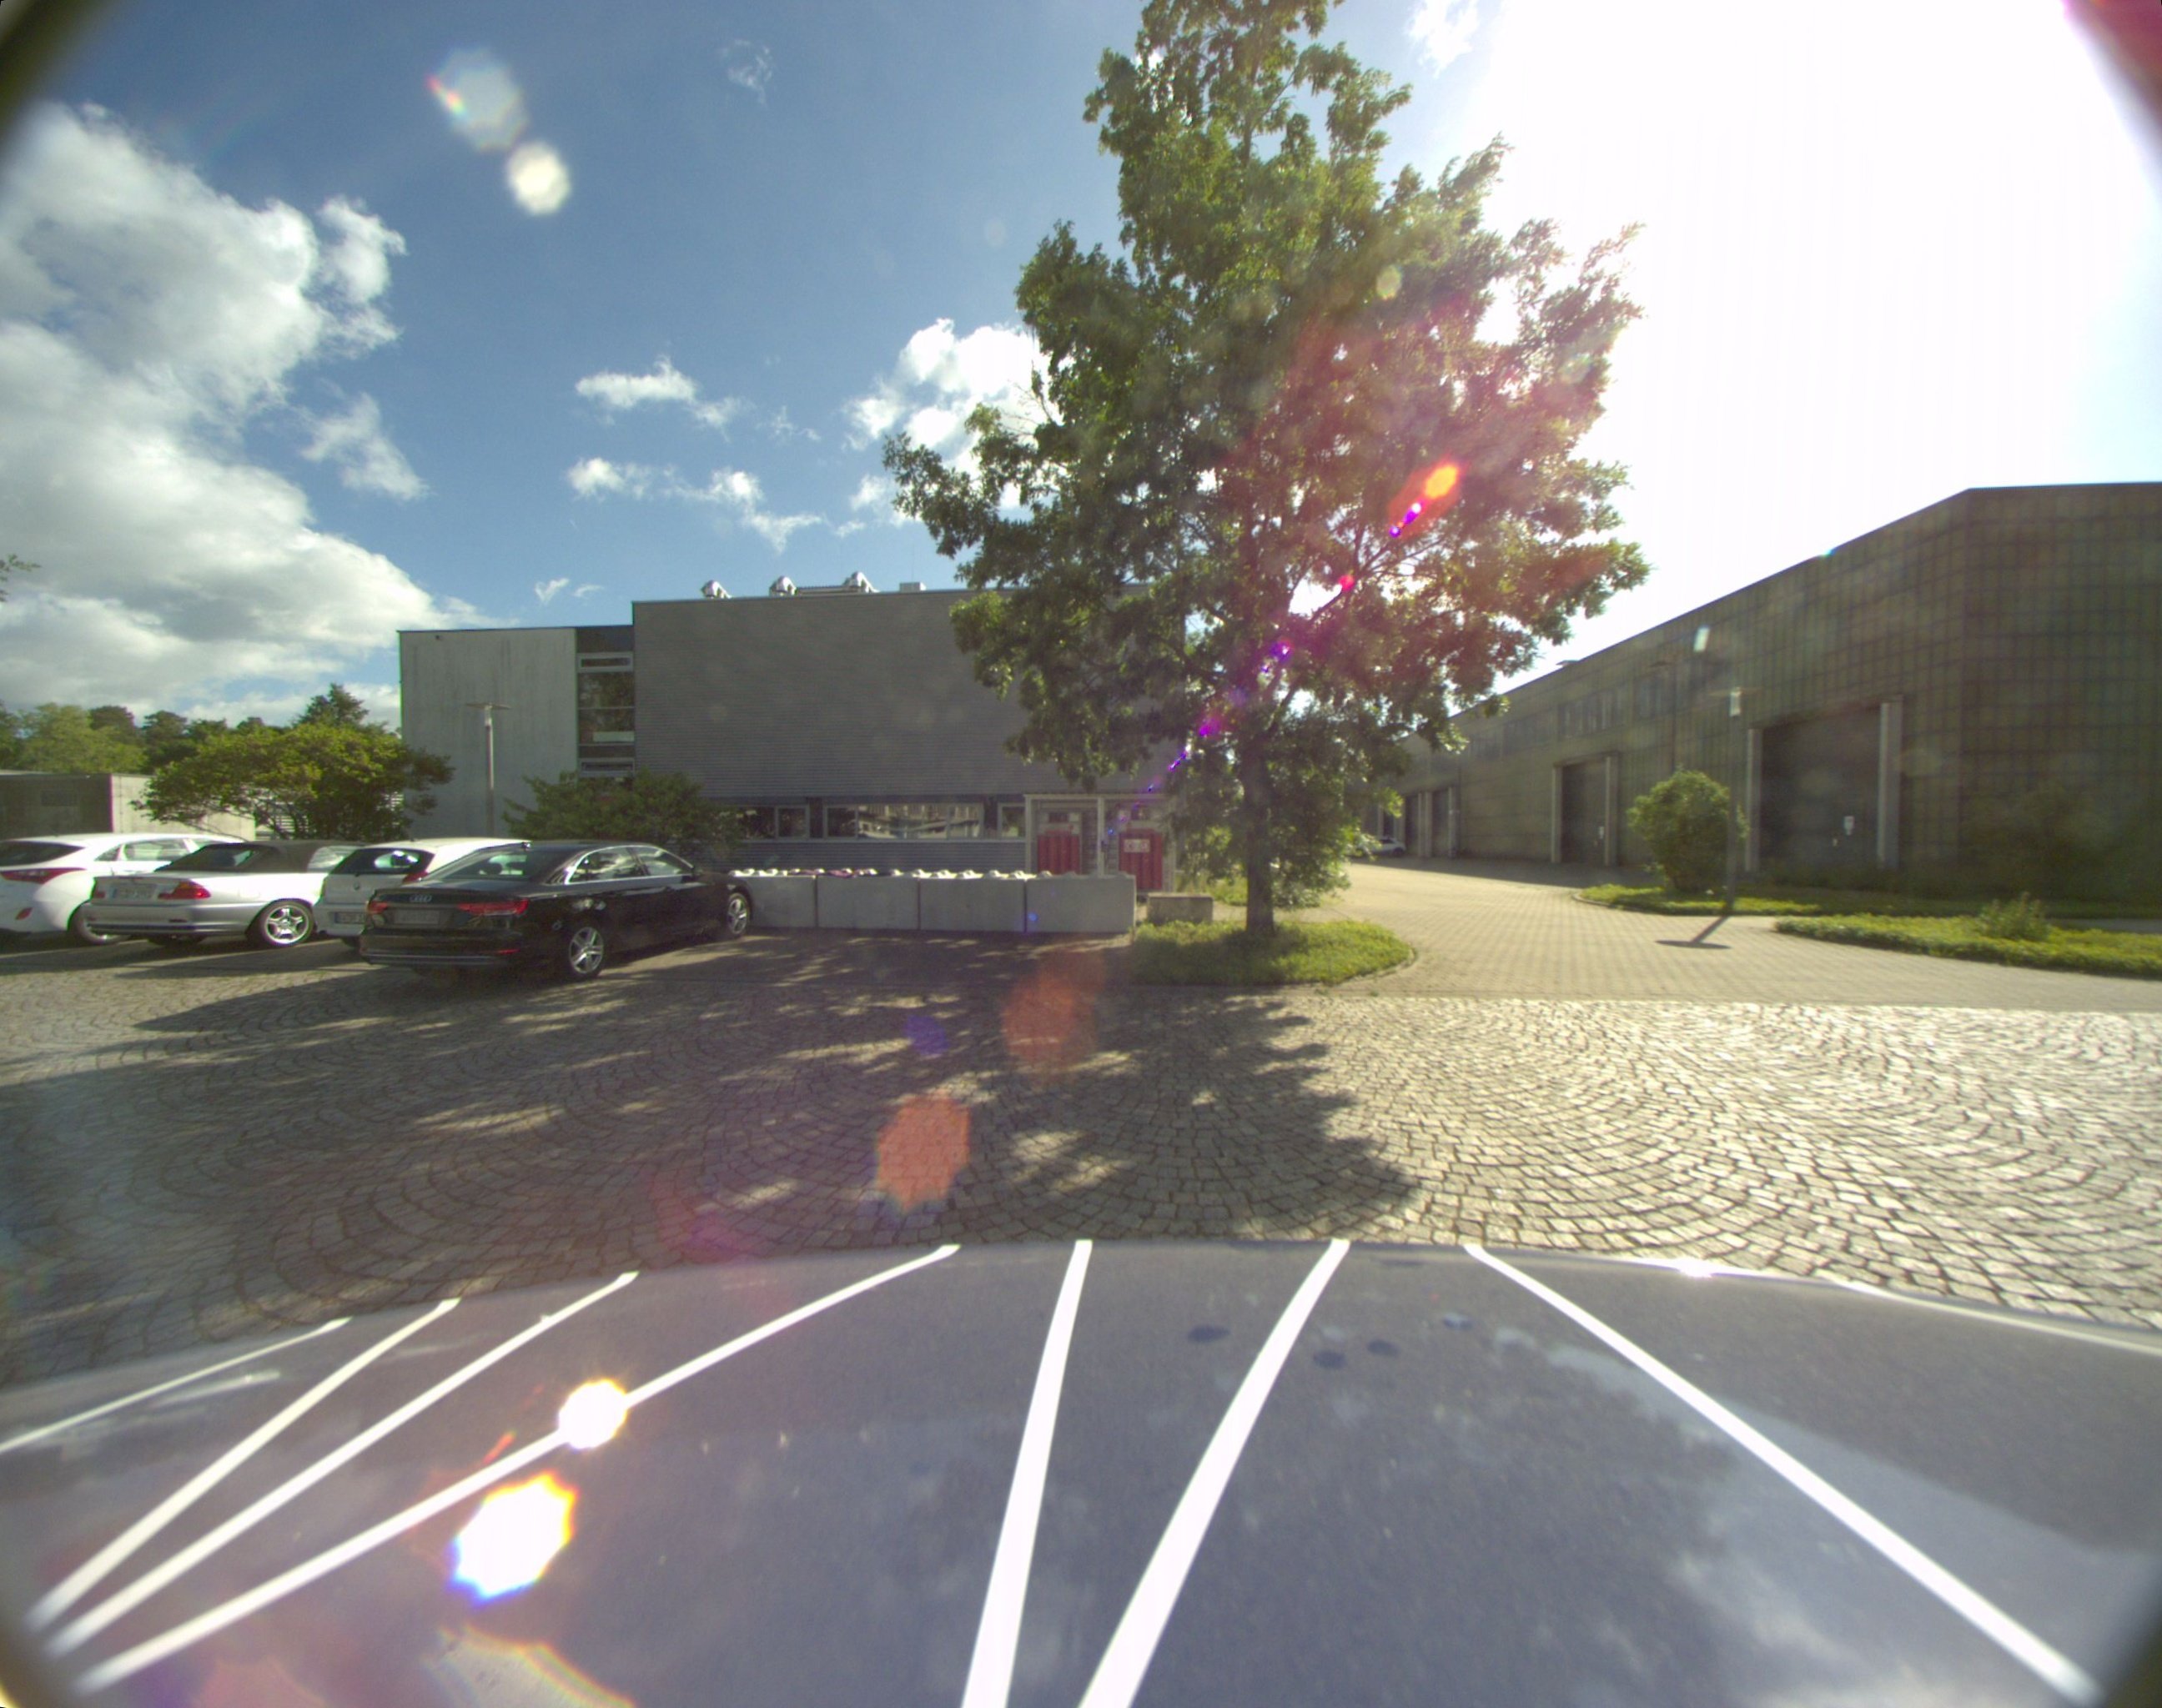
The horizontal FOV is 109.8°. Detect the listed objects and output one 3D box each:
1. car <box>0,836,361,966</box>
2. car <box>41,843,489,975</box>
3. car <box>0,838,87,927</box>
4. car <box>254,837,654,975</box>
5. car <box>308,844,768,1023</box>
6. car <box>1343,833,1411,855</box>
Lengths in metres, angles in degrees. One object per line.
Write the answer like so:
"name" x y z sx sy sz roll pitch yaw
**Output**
"car" -13.322 0.516 11.003 1.753 1.439 3.925 0 3 7
"car" -10.815 0.594 10.591 1.726 1.364 3.925 0 3 7
"car" -18.509 0.527 11.438 1.690 1.410 3.925 0 3 7
"car" -8.329 0.536 10.703 1.688 1.452 4.153 0 3 11
"car" -5.797 0.671 9.092 1.755 1.415 4.734 0 3 5
"car" 23.130 -0.804 59.488 4.574 1.653 2.000 0 2 5
